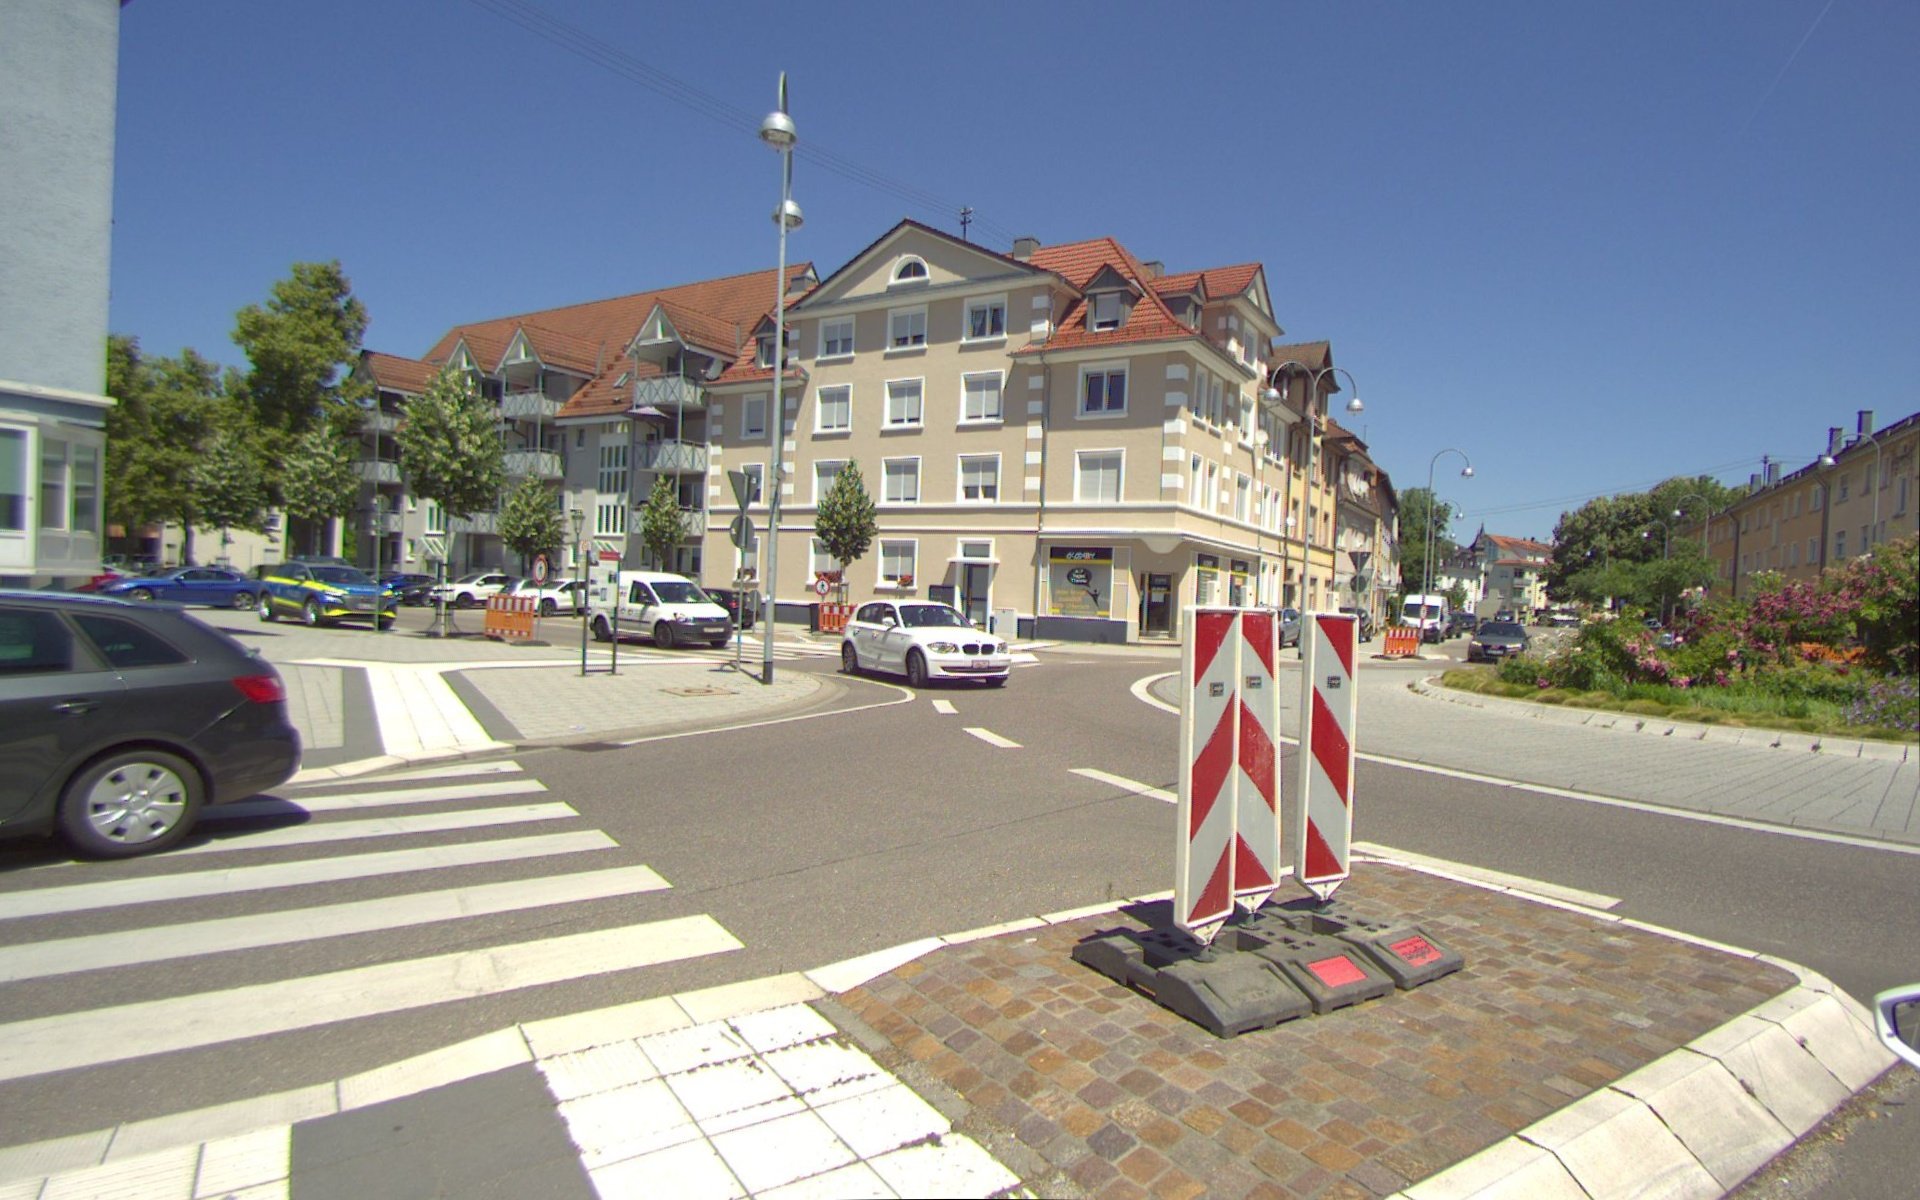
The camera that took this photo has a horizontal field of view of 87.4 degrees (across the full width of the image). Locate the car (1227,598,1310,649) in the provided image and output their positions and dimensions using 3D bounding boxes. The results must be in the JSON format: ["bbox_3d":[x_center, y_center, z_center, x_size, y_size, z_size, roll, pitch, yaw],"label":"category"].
[{"bbox_3d":[11.389,0.855,36.902,1.750,1.708,4.684,3,0,31],"label":"car"}]

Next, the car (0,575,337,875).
[{"bbox_3d":[-5.655,0.604,5.034,1.640,1.471,4.005,0,-1,39],"label":"car"}]

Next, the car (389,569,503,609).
[{"bbox_3d":[-23.969,-0.488,46.992,1.949,1.692,4.361,2,0,34],"label":"car"}]

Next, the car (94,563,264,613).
[{"bbox_3d":[-25.308,-0.360,32.670,1.633,1.377,4.020,6,2,34],"label":"car"}]

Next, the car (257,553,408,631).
[{"bbox_3d":[-16.219,-0.242,25.911,4.172,1.801,1.776,3,1,35],"label":"car"}]

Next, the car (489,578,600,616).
[{"bbox_3d":[-18.120,-0.127,43.955,1.949,1.512,4.070,2,0,34],"label":"car"}]

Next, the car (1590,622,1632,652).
[{"bbox_3d":[44.084,2.501,68.105,1.784,1.817,3.996,4,1,26],"label":"car"}]

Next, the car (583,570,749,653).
[{"bbox_3d":[-7.327,0.246,24.869,4.176,1.801,1.774,3,1,38],"label":"car"}]

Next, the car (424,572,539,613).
[{"bbox_3d":[-21.754,-0.328,45.799,1.949,1.692,4.361,2,0,34],"label":"car"}]

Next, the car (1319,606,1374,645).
[{"bbox_3d":[18.083,1.181,46.924,1.576,1.638,4.082,5,2,32],"label":"car"}]

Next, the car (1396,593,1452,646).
[{"bbox_3d":[25.235,1.072,54.475,2.113,2.566,6.227,5,1,29],"label":"car"}]

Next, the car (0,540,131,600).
[{"bbox_3d":[-33.856,-1.110,37.575,1.967,2.040,3.988,5,1,35],"label":"car"}]

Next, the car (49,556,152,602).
[{"bbox_3d":[-35.602,-0.886,41.597,4.058,1.715,2.277,2,-1,35],"label":"car"}]

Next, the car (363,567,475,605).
[{"bbox_3d":[-26.039,-0.655,48.467,1.949,1.692,4.361,2,0,34],"label":"car"}]

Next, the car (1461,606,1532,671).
[{"bbox_3d":[18.909,1.309,35.450,1.963,2.040,3.994,4,1,28],"label":"car"}]

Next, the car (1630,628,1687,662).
[{"bbox_3d":[36.996,2.356,53.270,1.784,1.520,3.996,5,1,26],"label":"car"}]

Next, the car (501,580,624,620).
[{"bbox_3d":[-16.359,0.014,41.531,1.949,1.512,4.397,2,0,34],"label":"car"}]

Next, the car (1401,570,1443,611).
[{"bbox_3d":[32.136,-0.634,69.781,2.113,2.566,4.847,5,1,29],"label":"car"}]

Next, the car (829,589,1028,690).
[{"bbox_3d":[-0.693,0.631,17.953,1.767,1.571,4.094,2,0,-31],"label":"car"}]

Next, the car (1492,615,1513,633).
[{"bbox_3d":[61.525,2.745,114.021,1.784,1.817,3.996,4,1,26],"label":"car"}]
